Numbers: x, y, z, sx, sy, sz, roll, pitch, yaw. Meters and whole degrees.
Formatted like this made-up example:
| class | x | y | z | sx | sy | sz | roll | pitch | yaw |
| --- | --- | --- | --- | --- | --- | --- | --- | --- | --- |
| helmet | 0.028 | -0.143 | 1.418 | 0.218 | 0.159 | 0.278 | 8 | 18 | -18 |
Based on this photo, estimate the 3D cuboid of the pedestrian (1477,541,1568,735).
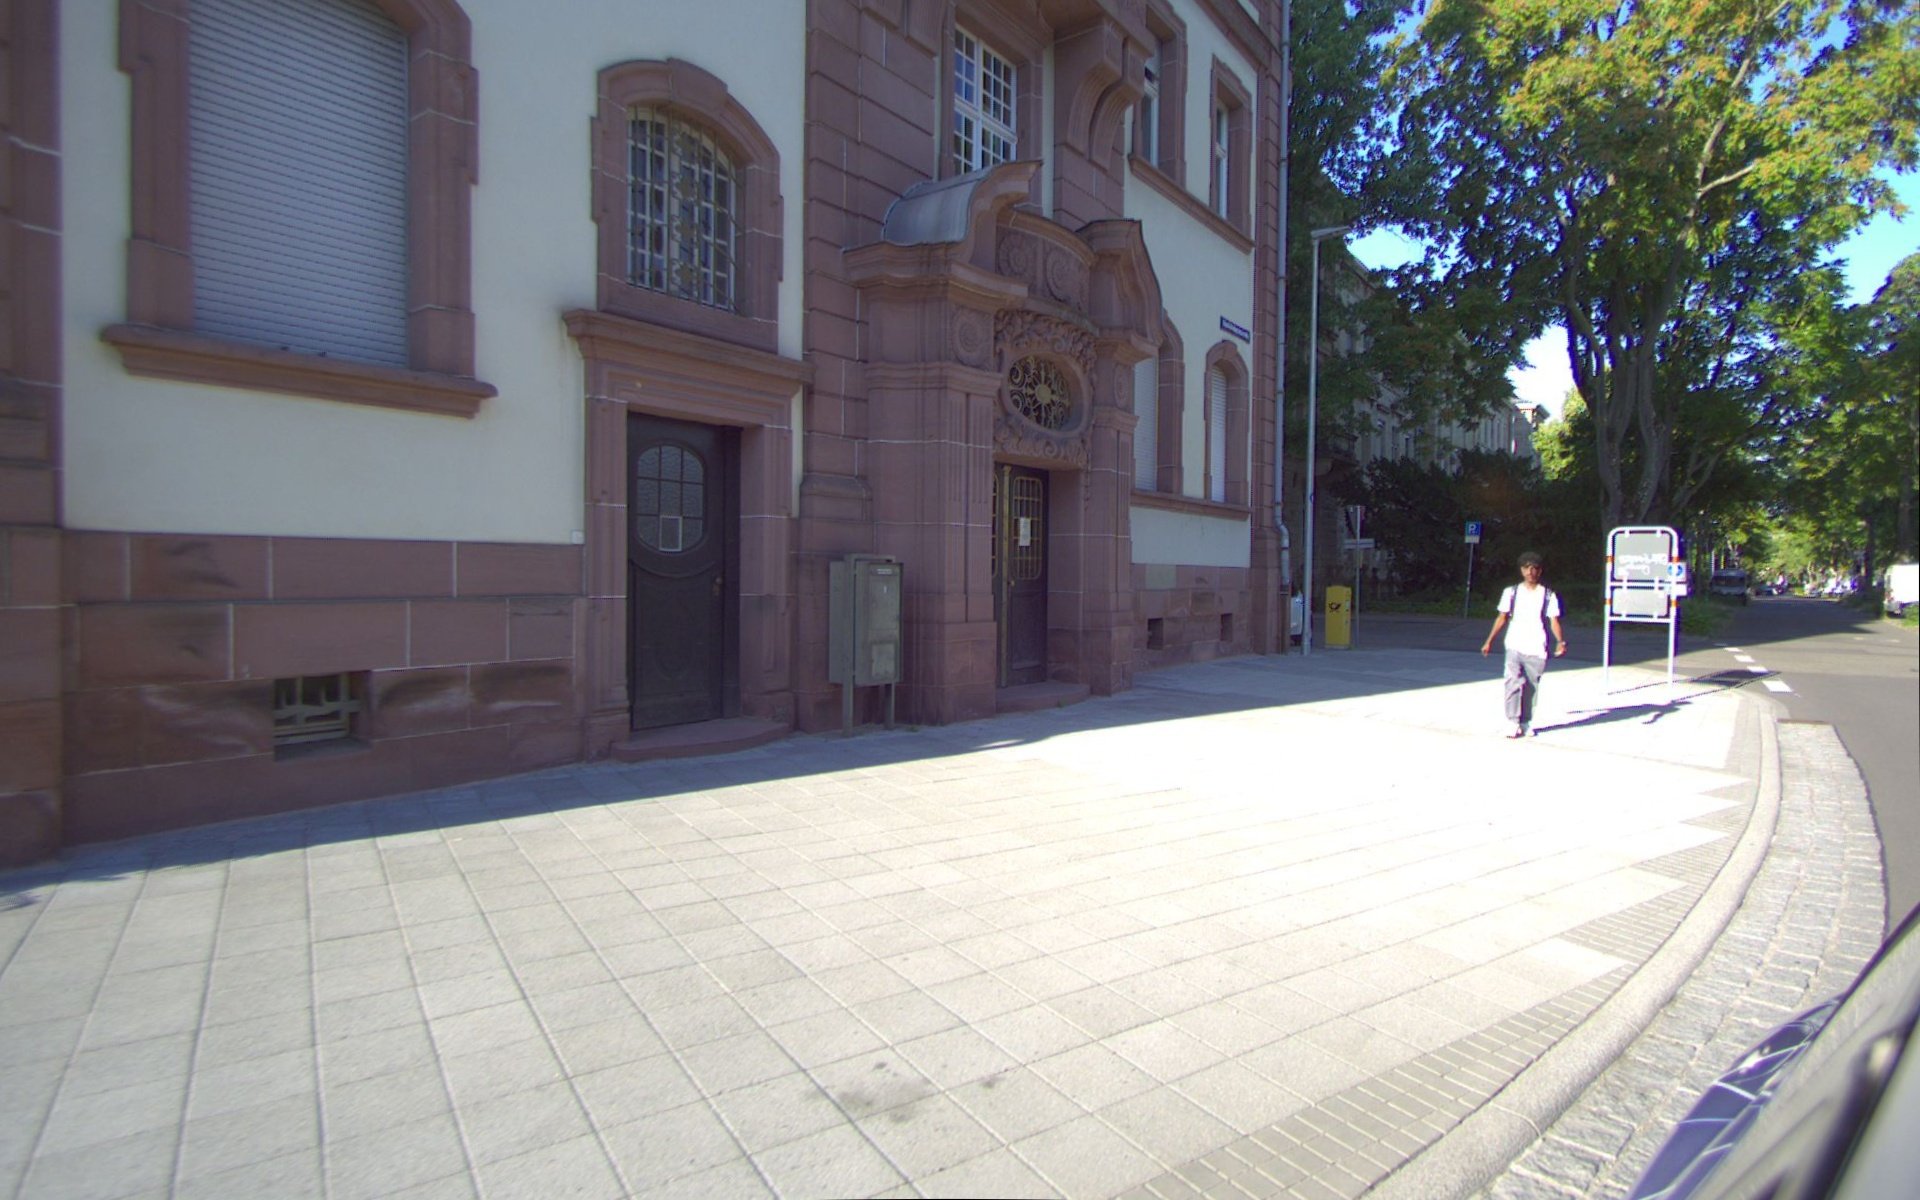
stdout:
| class | x | y | z | sx | sy | sz | roll | pitch | yaw |
| --- | --- | --- | --- | --- | --- | --- | --- | --- | --- |
| pedestrian | 5.369 | 0.322 | 9.642 | 0.531 | 1.739 | 0.989 | 4 | 3 | 38 |

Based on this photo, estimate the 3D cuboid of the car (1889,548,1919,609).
| class | x | y | z | sx | sy | sz | roll | pitch | yaw |
| --- | --- | --- | --- | --- | --- | --- | --- | --- | --- |
| car | 45.178 | -0.967 | 44.699 | 5.876 | 2.734 | 2.192 | 1 | 1 | 37 |

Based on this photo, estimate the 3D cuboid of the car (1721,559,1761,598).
| class | x | y | z | sx | sy | sz | roll | pitch | yaw |
| --- | --- | --- | --- | --- | --- | --- | --- | --- | --- |
| car | 54.527 | -1.502 | 70.634 | 1.945 | 2.631 | 4.104 | 0 | 1 | 41 |

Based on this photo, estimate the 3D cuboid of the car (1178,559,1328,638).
| class | x | y | z | sx | sy | sz | roll | pitch | yaw |
| --- | --- | --- | --- | --- | --- | --- | --- | --- | --- |
| car | 6.813 | 0.009 | 23.172 | 1.954 | 1.609 | 4.662 | 1 | -1 | 34 |
